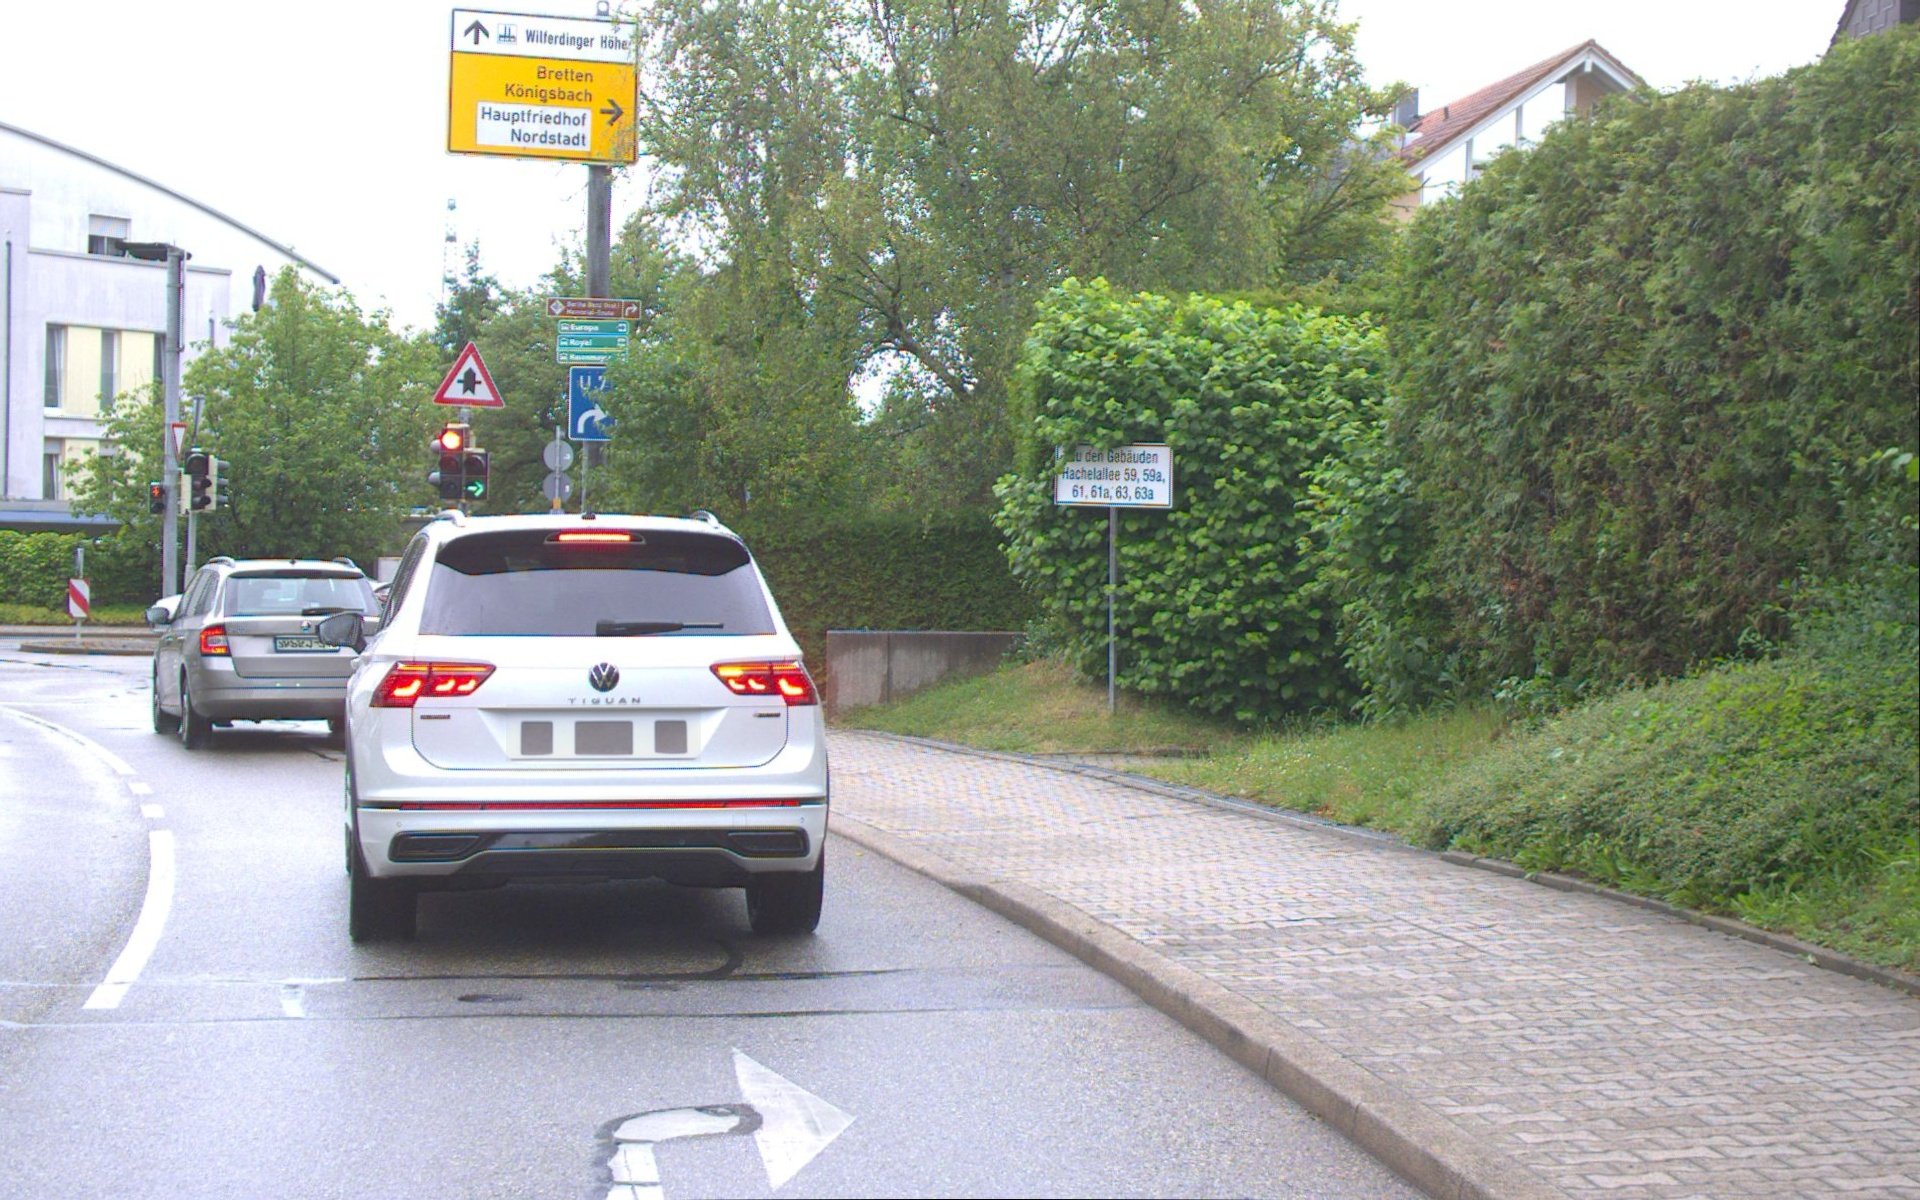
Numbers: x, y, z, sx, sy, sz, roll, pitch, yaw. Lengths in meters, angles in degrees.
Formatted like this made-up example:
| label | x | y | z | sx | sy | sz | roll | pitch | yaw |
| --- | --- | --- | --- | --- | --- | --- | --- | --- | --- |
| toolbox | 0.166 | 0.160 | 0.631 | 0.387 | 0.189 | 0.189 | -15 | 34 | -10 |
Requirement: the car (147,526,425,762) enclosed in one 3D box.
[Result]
| label | x | y | z | sx | sy | sz | roll | pitch | yaw |
| --- | --- | --- | --- | --- | --- | --- | --- | --- | --- |
| car | -5.485 | 0.298 | 27.619 | 1.764 | 1.504 | 4.002 | 3 | 3 | -16 |

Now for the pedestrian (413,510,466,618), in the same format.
| label | x | y | z | sx | sy | sz | roll | pitch | yaw |
| --- | --- | --- | --- | --- | --- | --- | --- | --- | --- |
| pedestrian | -9.903 | -0.689 | 65.410 | 0.799 | 2.006 | 0.850 | 0 | 4 | -20 |

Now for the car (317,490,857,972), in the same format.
| label | x | y | z | sx | sy | sz | roll | pitch | yaw |
| --- | --- | --- | --- | --- | --- | --- | --- | --- | --- |
| car | -1.651 | 0.435 | 14.475 | 1.920 | 1.716 | 4.266 | 0 | 1 | -9 |

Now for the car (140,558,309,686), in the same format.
| label | x | y | z | sx | sy | sz | roll | pitch | yaw |
| --- | --- | --- | --- | --- | --- | --- | --- | --- | --- |
| car | -8.664 | 0.235 | 40.515 | 1.850 | 1.424 | 4.001 | 0 | 0 | -12 |

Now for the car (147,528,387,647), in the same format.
| label | x | y | z | sx | sy | sz | roll | pitch | yaw |
| --- | --- | --- | --- | --- | --- | --- | --- | --- | --- |
| car | -12.189 | -0.234 | 60.584 | 3.986 | 1.752 | 2.001 | 4 | 3 | -11 |
